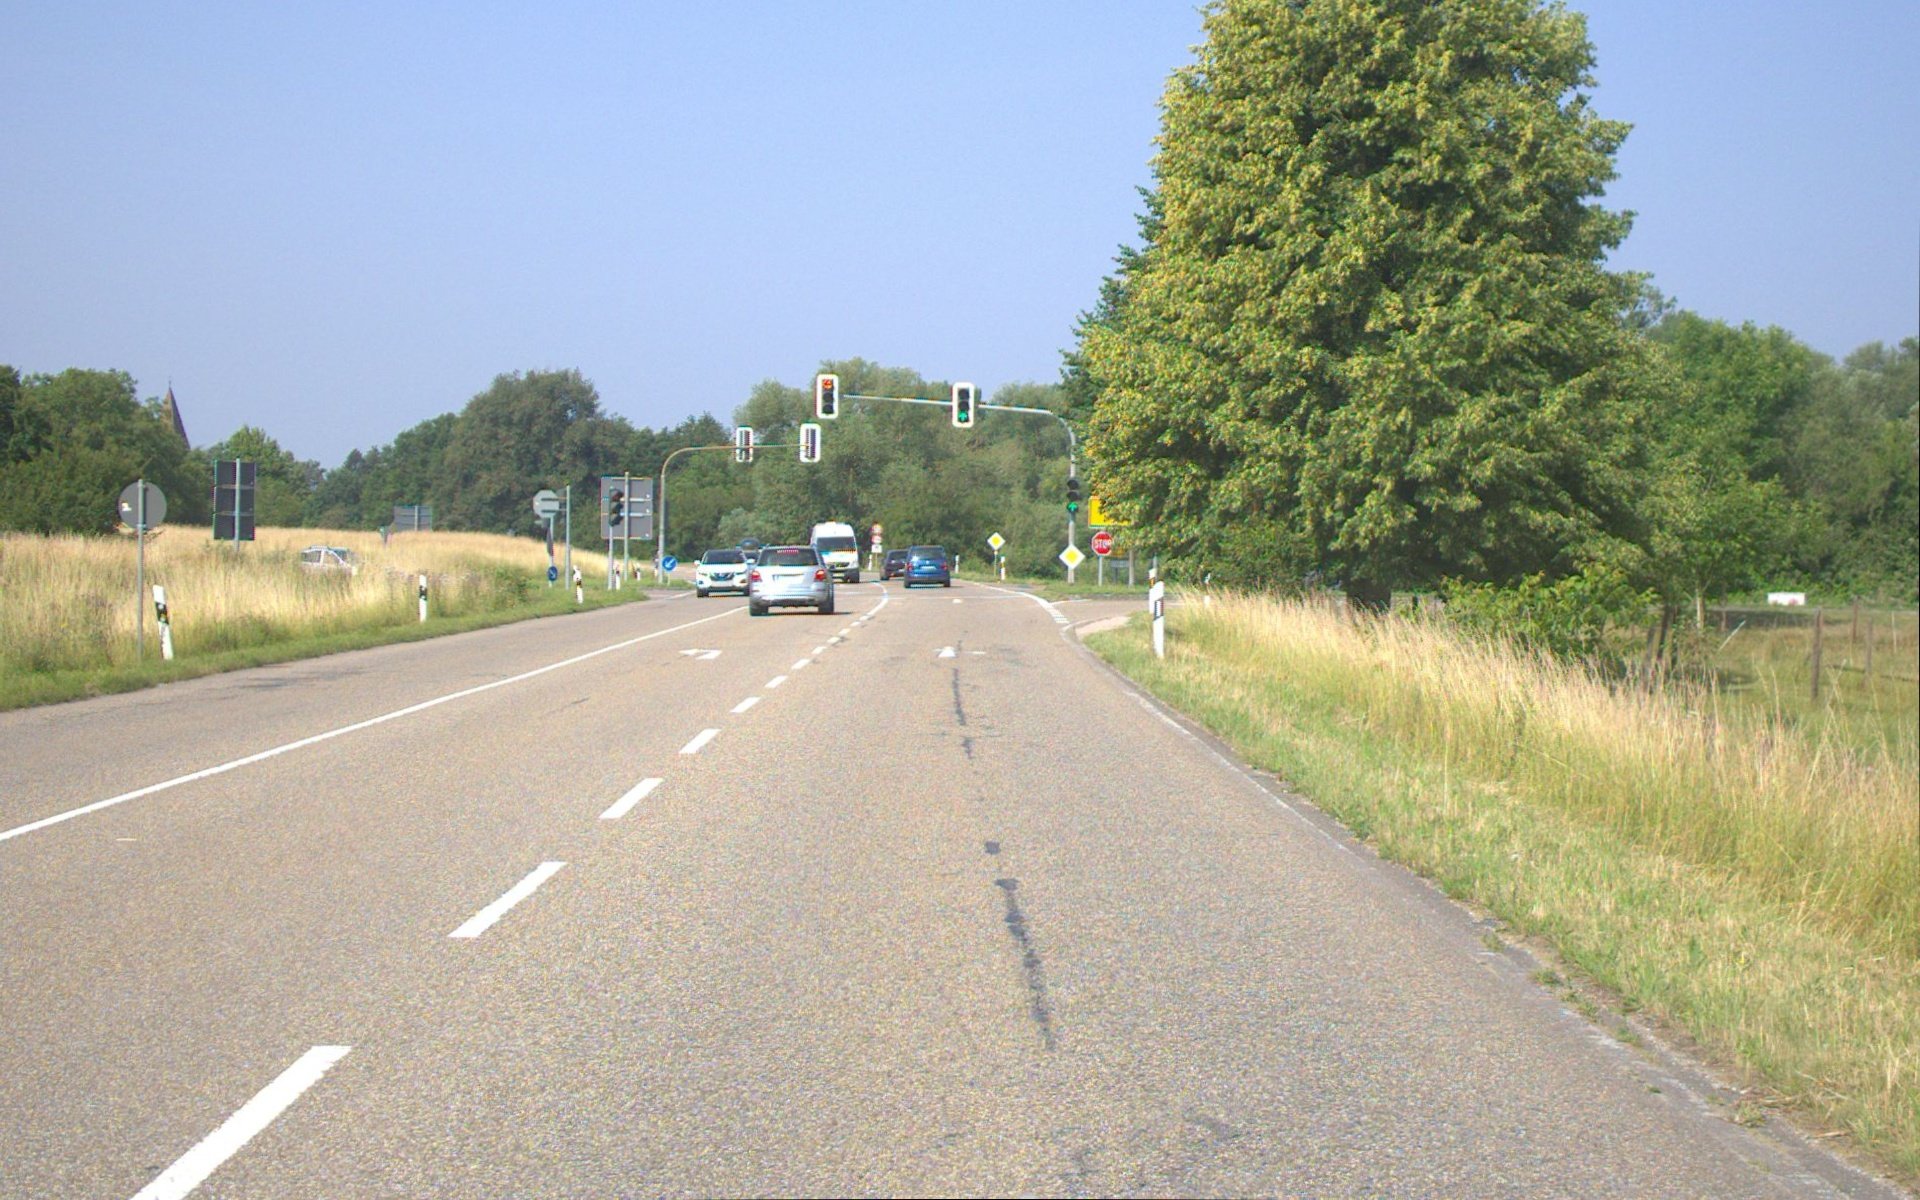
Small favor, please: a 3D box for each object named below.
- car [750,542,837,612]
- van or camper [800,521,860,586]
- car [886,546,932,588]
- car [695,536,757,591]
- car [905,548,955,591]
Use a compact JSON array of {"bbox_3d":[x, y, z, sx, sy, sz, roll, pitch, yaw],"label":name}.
[{"bbox_3d":[-3.877,-0.552,80.294,1.899,1.506,4.001,3,1,-2],"label":"car"},{"bbox_3d":[-5.776,-2.082,153.268,2.265,2.700,5.262,4,1,0],"label":"van or camper"},{"bbox_3d":[-2.386,-1.536,160.807,1.993,1.809,4.000,4,1,-1],"label":"car"},{"bbox_3d":[-7.968,-1.255,117.407,1.592,1.722,4.000,4,1,2],"label":"car"},{"bbox_3d":[-1.149,-1.183,133.280,1.816,1.515,4.000,4,1,0],"label":"car"}]
